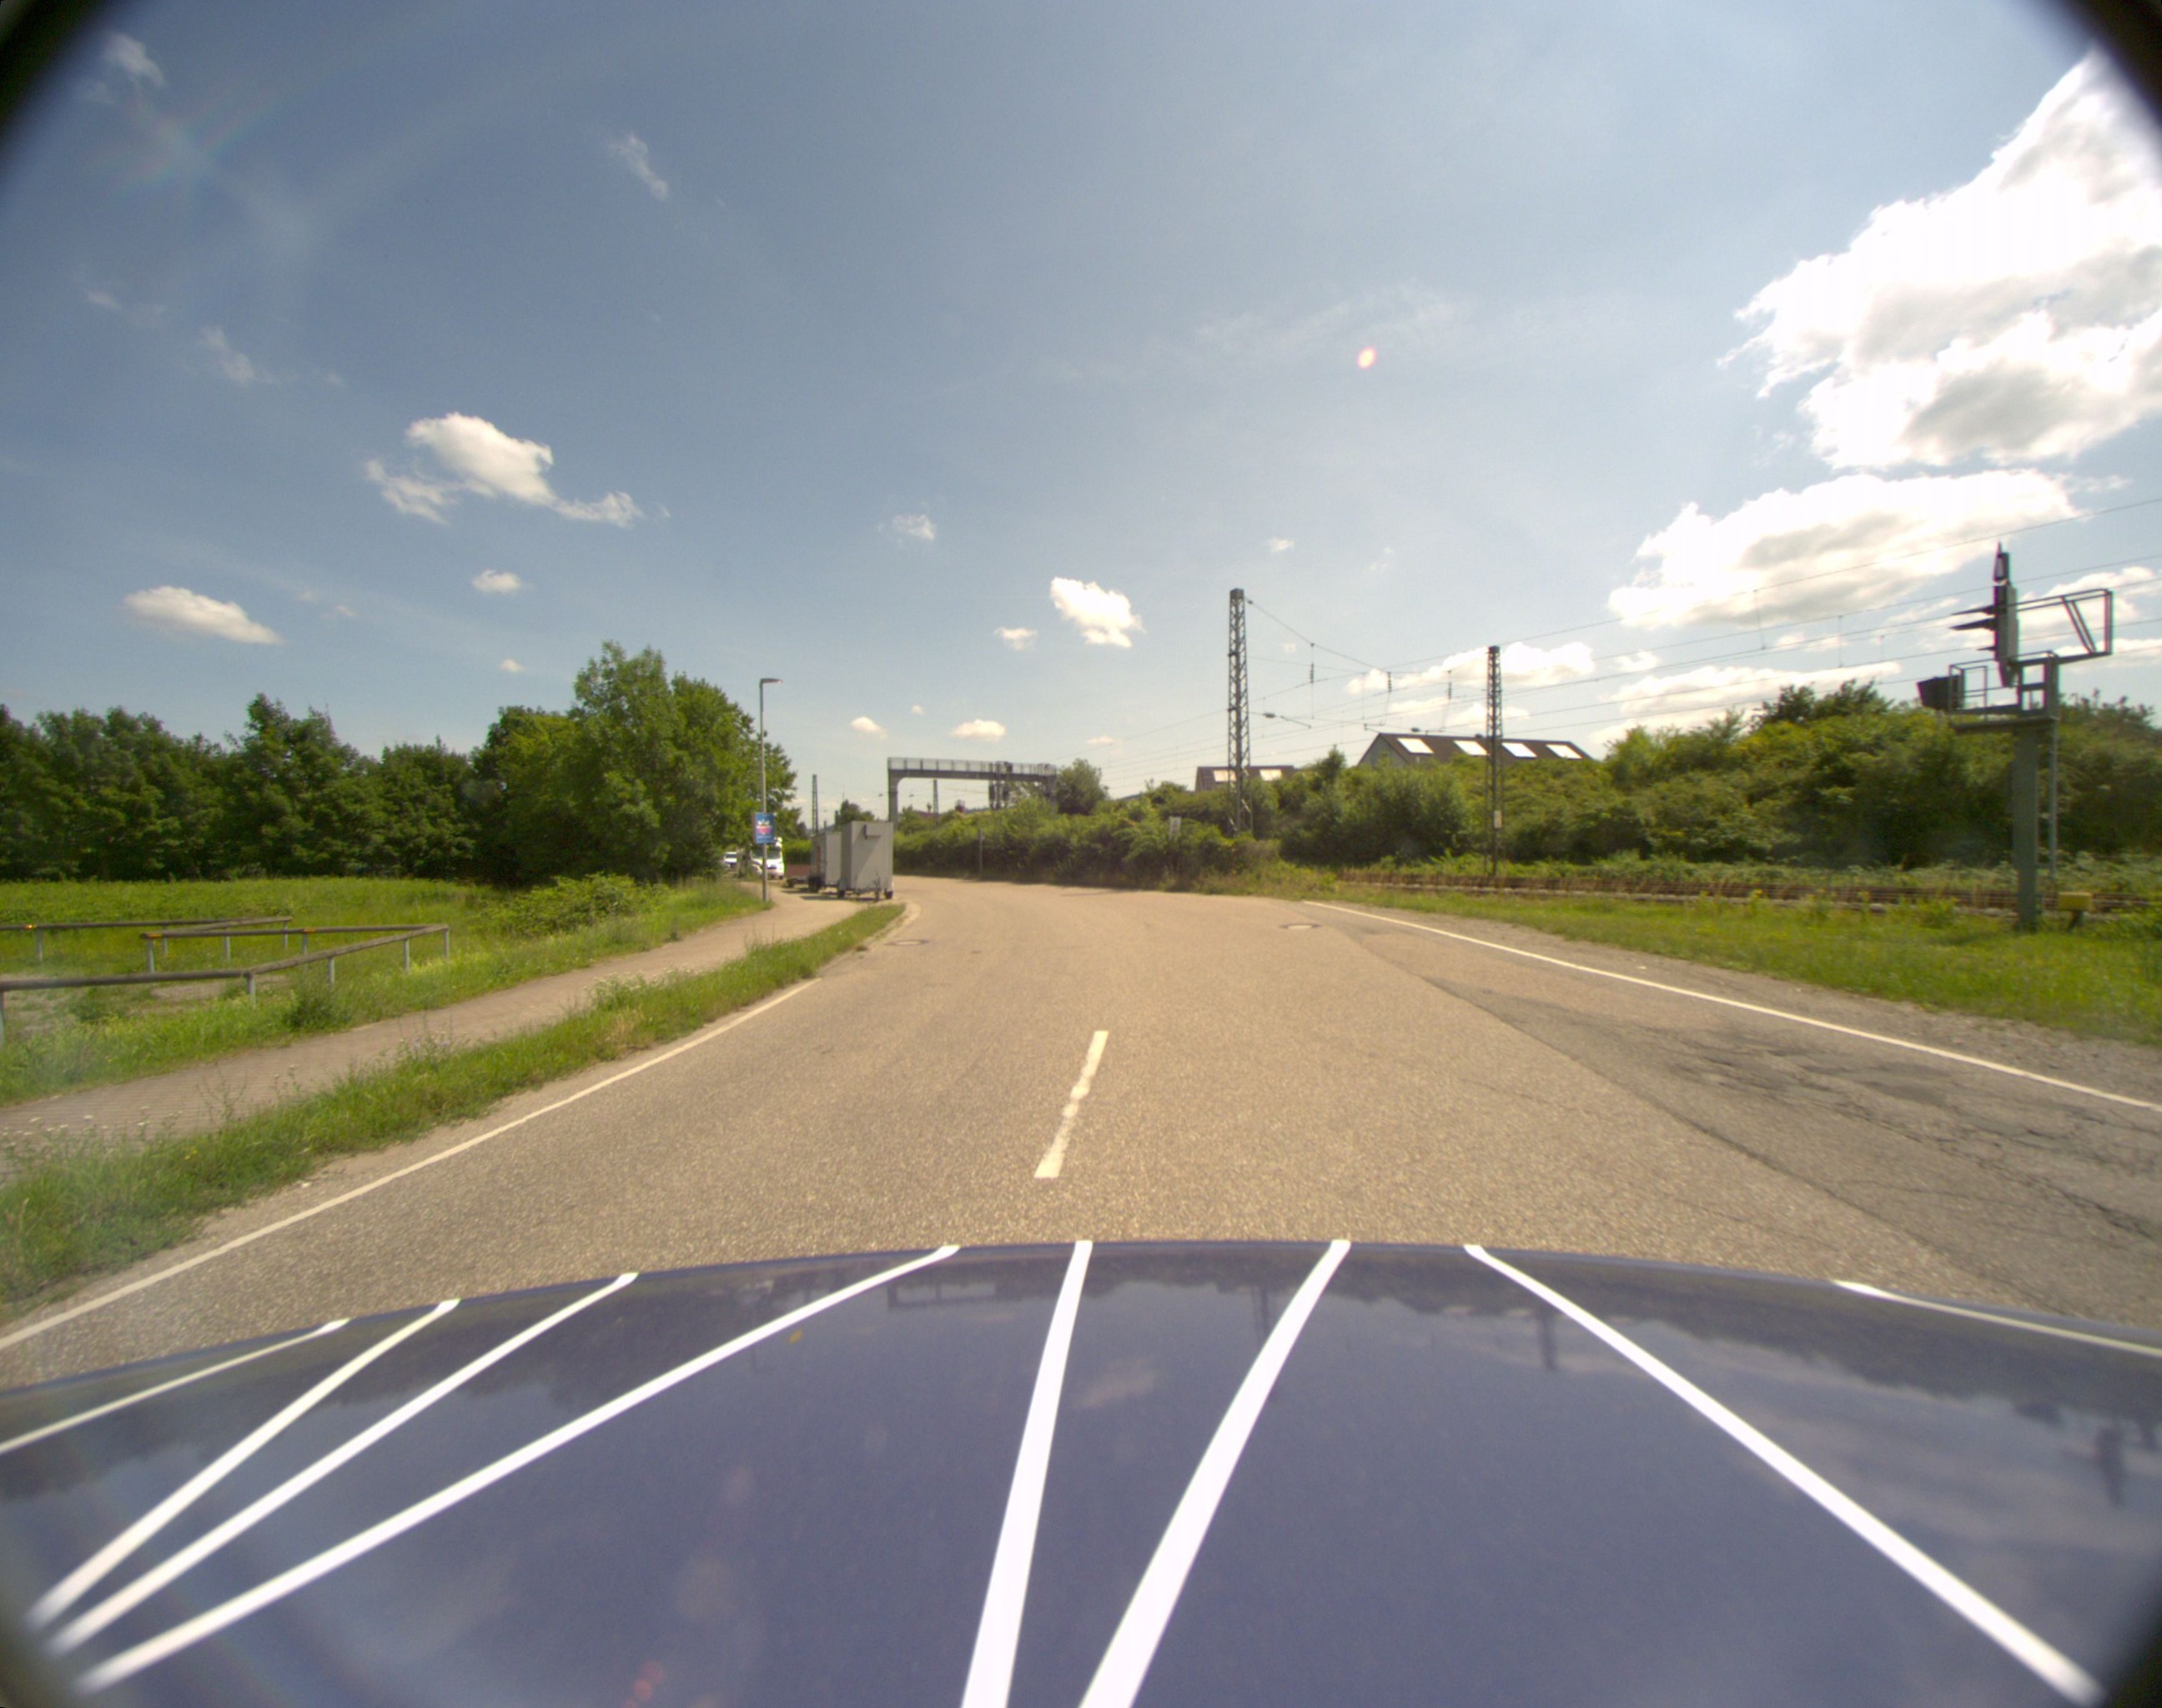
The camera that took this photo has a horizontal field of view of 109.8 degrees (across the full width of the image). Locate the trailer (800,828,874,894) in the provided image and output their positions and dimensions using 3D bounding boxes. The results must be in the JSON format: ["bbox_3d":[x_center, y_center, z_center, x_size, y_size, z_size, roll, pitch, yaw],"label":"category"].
[{"bbox_3d":[-10.051,0.280,31.064,1.928,2.493,4.729,1,0,-30],"label":"trailer"}]

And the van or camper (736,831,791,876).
[{"bbox_3d":[-21.260,-0.048,50.650,2.451,2.810,7.604,0,0,-30],"label":"van or camper"}]

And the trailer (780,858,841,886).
[{"bbox_3d":[-12.386,0.804,34.645,2.014,1.116,4.478,1,0,-27],"label":"trailer"}]

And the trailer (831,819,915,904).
[{"bbox_3d":[-7.289,0.266,26.230,1.942,2.628,5.172,1,0,-24],"label":"trailer"}]
